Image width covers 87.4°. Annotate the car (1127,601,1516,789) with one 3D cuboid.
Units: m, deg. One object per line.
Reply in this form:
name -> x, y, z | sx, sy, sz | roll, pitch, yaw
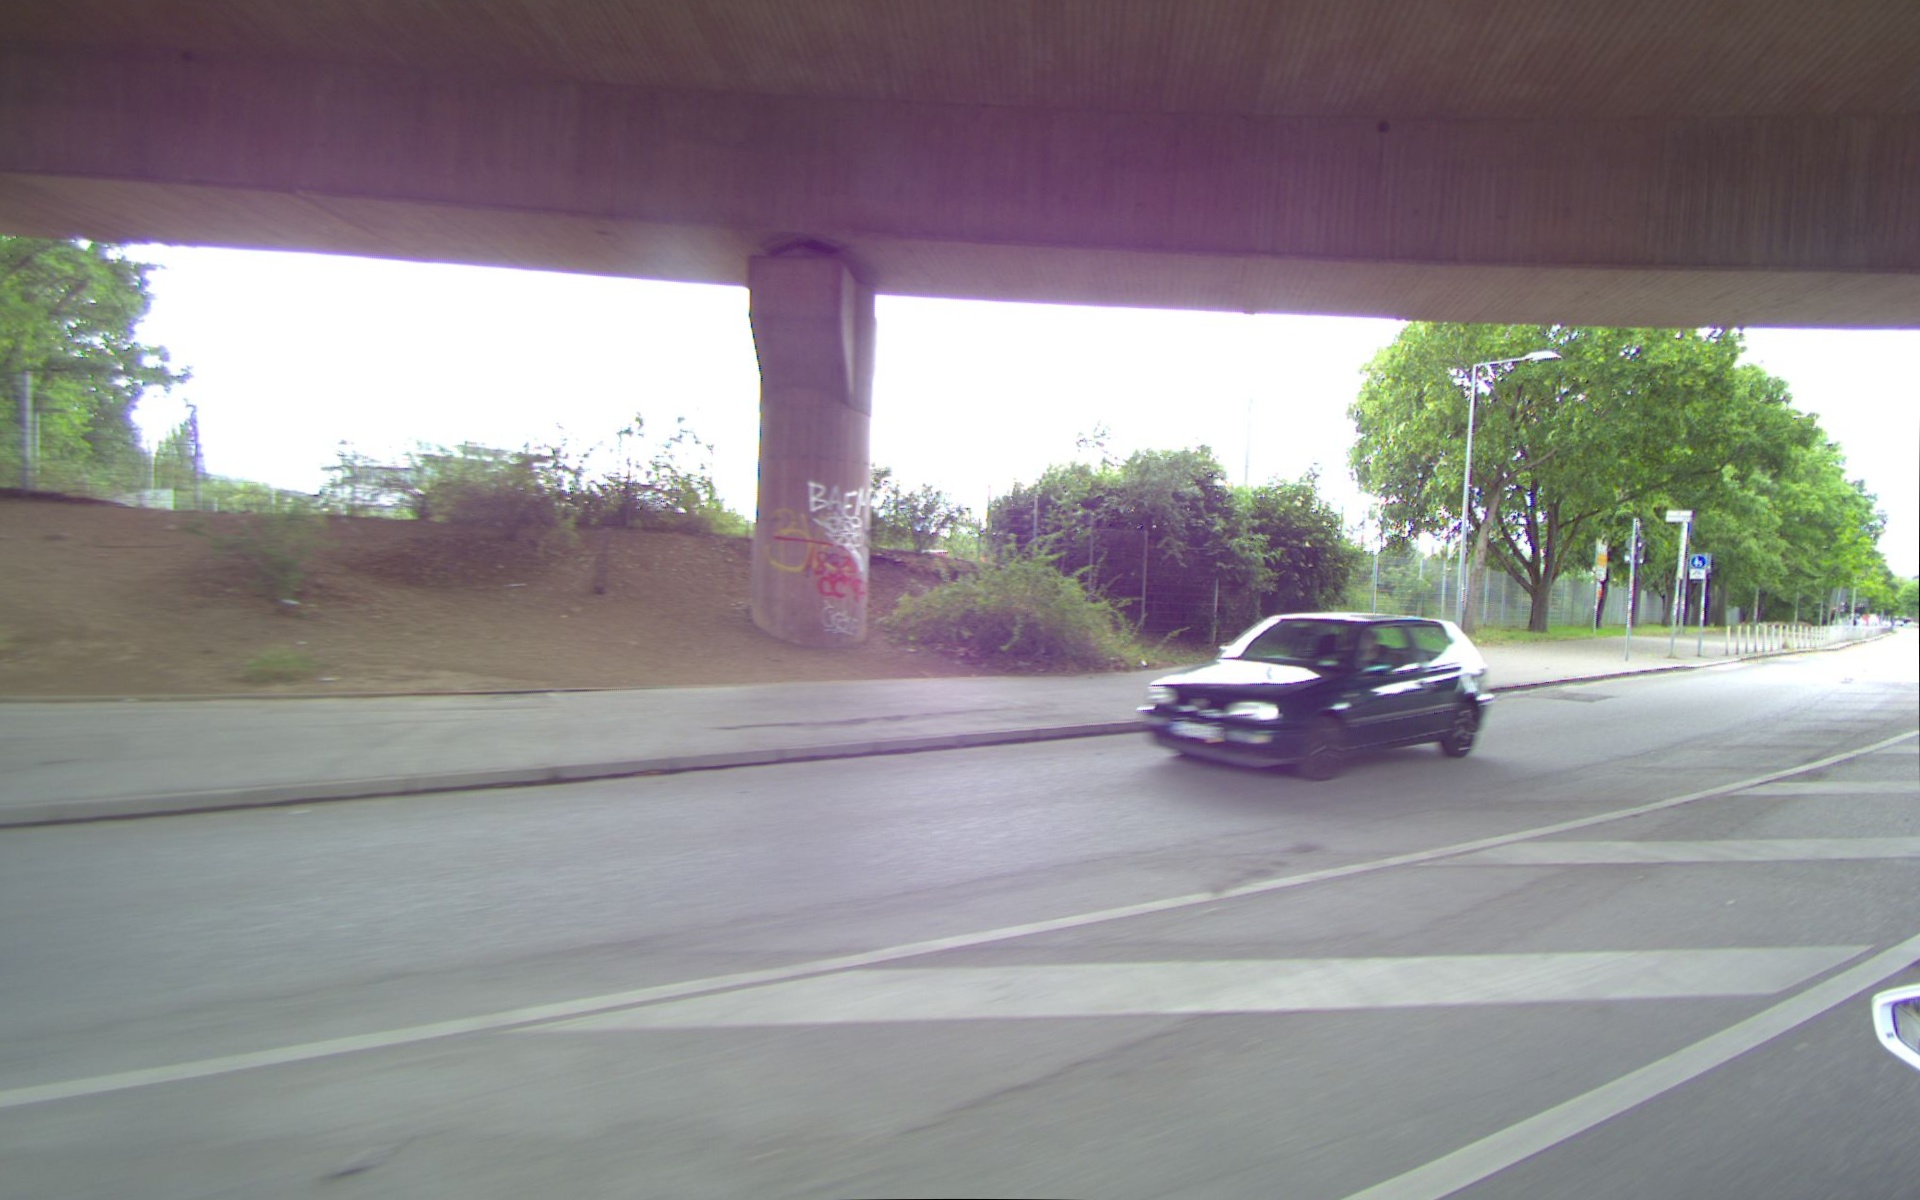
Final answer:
car -> 3.665, 0.799, 9.923 | 3.962, 1.450, 1.664 | 1, 1, -36
